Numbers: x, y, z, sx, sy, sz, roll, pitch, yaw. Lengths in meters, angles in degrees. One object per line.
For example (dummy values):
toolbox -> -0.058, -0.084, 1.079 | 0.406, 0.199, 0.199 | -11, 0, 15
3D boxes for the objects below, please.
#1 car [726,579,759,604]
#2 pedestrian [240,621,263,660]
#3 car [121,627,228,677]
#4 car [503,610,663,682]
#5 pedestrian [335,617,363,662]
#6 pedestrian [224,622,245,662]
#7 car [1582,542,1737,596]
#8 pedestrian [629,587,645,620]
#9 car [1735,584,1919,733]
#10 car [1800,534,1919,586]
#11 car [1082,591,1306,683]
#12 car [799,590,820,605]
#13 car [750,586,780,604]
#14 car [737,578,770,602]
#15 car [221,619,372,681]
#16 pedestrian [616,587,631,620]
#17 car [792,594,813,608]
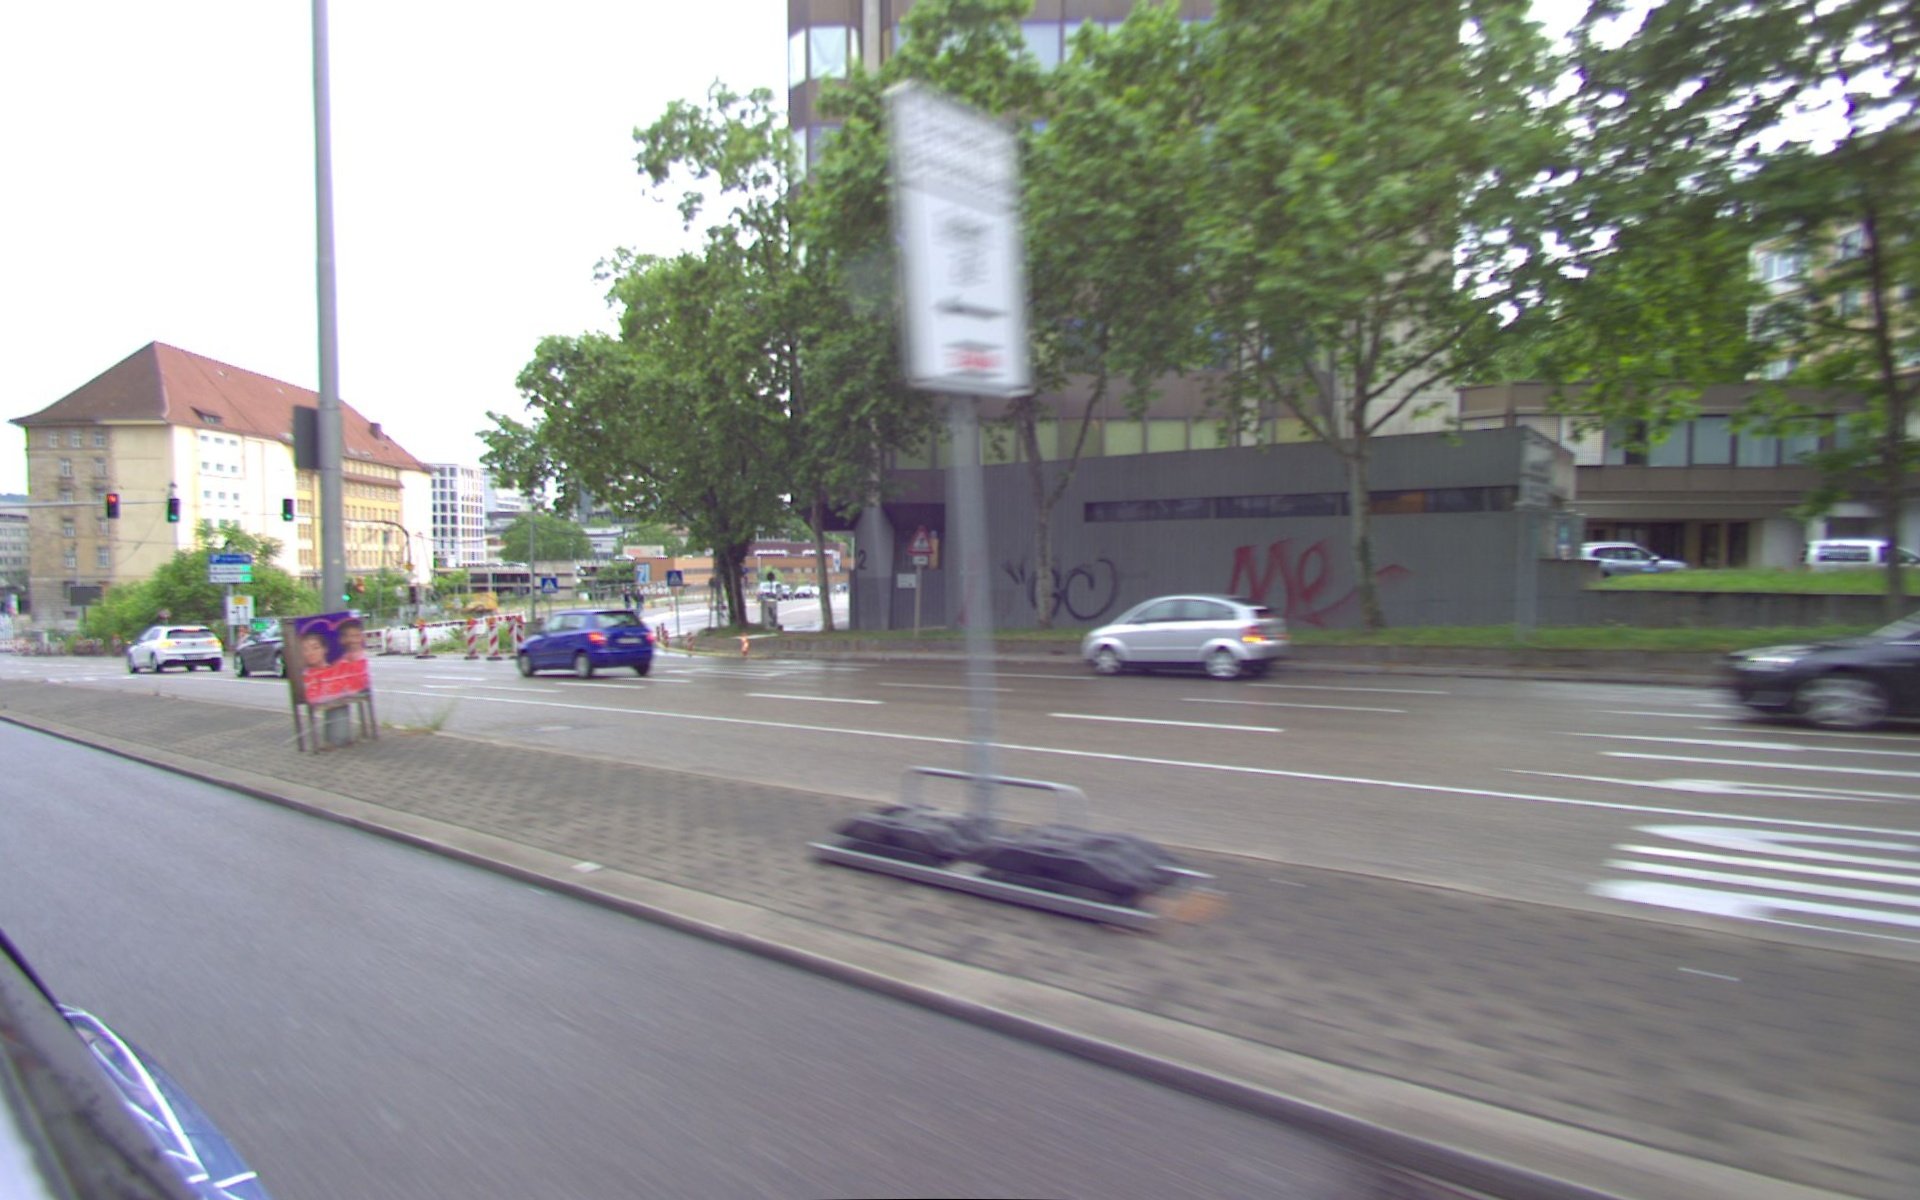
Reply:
car -> -17.895, -0.694, 83.374 | 1.789, 1.980, 3.998 | -1, 1, 2
pedestrian -> -35.571, 2.027, 50.837 | 0.742, 1.937, 0.753 | 0, 1, 41
car -> -25.299, 1.667, 32.549 | 4.354, 1.472, 1.744 | -3, -2, 39
car -> -8.572, 1.008, 22.856 | 4.064, 1.485, 1.592 | -2, -2, 40
pedestrian -> -26.607, 1.701, 44.097 | 0.744, 1.894, 0.736 | 0, 1, 29
pedestrian -> -36.056, 2.058, 50.283 | 0.775, 1.915, 0.665 | 0, 1, 41
car -> 21.993, -0.966, 31.905 | 3.703, 1.502, 1.603 | -2, 0, 0
pedestrian -> -21.537, 0.259, 67.410 | 0.737, 2.156, 0.742 | -2, 1, 3
car -> 10.702, 0.556, 10.049 | 4.718, 1.457, 1.728 | -1, 0, 37
car -> 29.529, -1.277, 32.463 | 3.744, 1.502, 1.586 | -2, 0, 33
car -> 4.298, 0.664, 18.887 | 3.756, 1.502, 1.581 | -2, 0, 43
car -> -18.445, -0.315, 124.363 | 1.864, 1.718, 4.282 | -1, 1, 2
car -> -18.915, -0.496, 98.204 | 1.973, 1.718, 3.998 | -1, 1, 2
car -> -18.117, -0.869, 89.083 | 1.973, 2.029, 3.998 | -1, 1, 2
car -> -17.069, 1.278, 25.974 | 4.330, 1.459, 1.791 | -3, -2, 36
pedestrian -> -22.407, 0.237, 67.354 | 0.737, 2.187, 0.701 | -1, 1, 3
car -> -18.387, 0.071, 118.390 | 1.714, 1.537, 3.998 | -1, 1, 2
